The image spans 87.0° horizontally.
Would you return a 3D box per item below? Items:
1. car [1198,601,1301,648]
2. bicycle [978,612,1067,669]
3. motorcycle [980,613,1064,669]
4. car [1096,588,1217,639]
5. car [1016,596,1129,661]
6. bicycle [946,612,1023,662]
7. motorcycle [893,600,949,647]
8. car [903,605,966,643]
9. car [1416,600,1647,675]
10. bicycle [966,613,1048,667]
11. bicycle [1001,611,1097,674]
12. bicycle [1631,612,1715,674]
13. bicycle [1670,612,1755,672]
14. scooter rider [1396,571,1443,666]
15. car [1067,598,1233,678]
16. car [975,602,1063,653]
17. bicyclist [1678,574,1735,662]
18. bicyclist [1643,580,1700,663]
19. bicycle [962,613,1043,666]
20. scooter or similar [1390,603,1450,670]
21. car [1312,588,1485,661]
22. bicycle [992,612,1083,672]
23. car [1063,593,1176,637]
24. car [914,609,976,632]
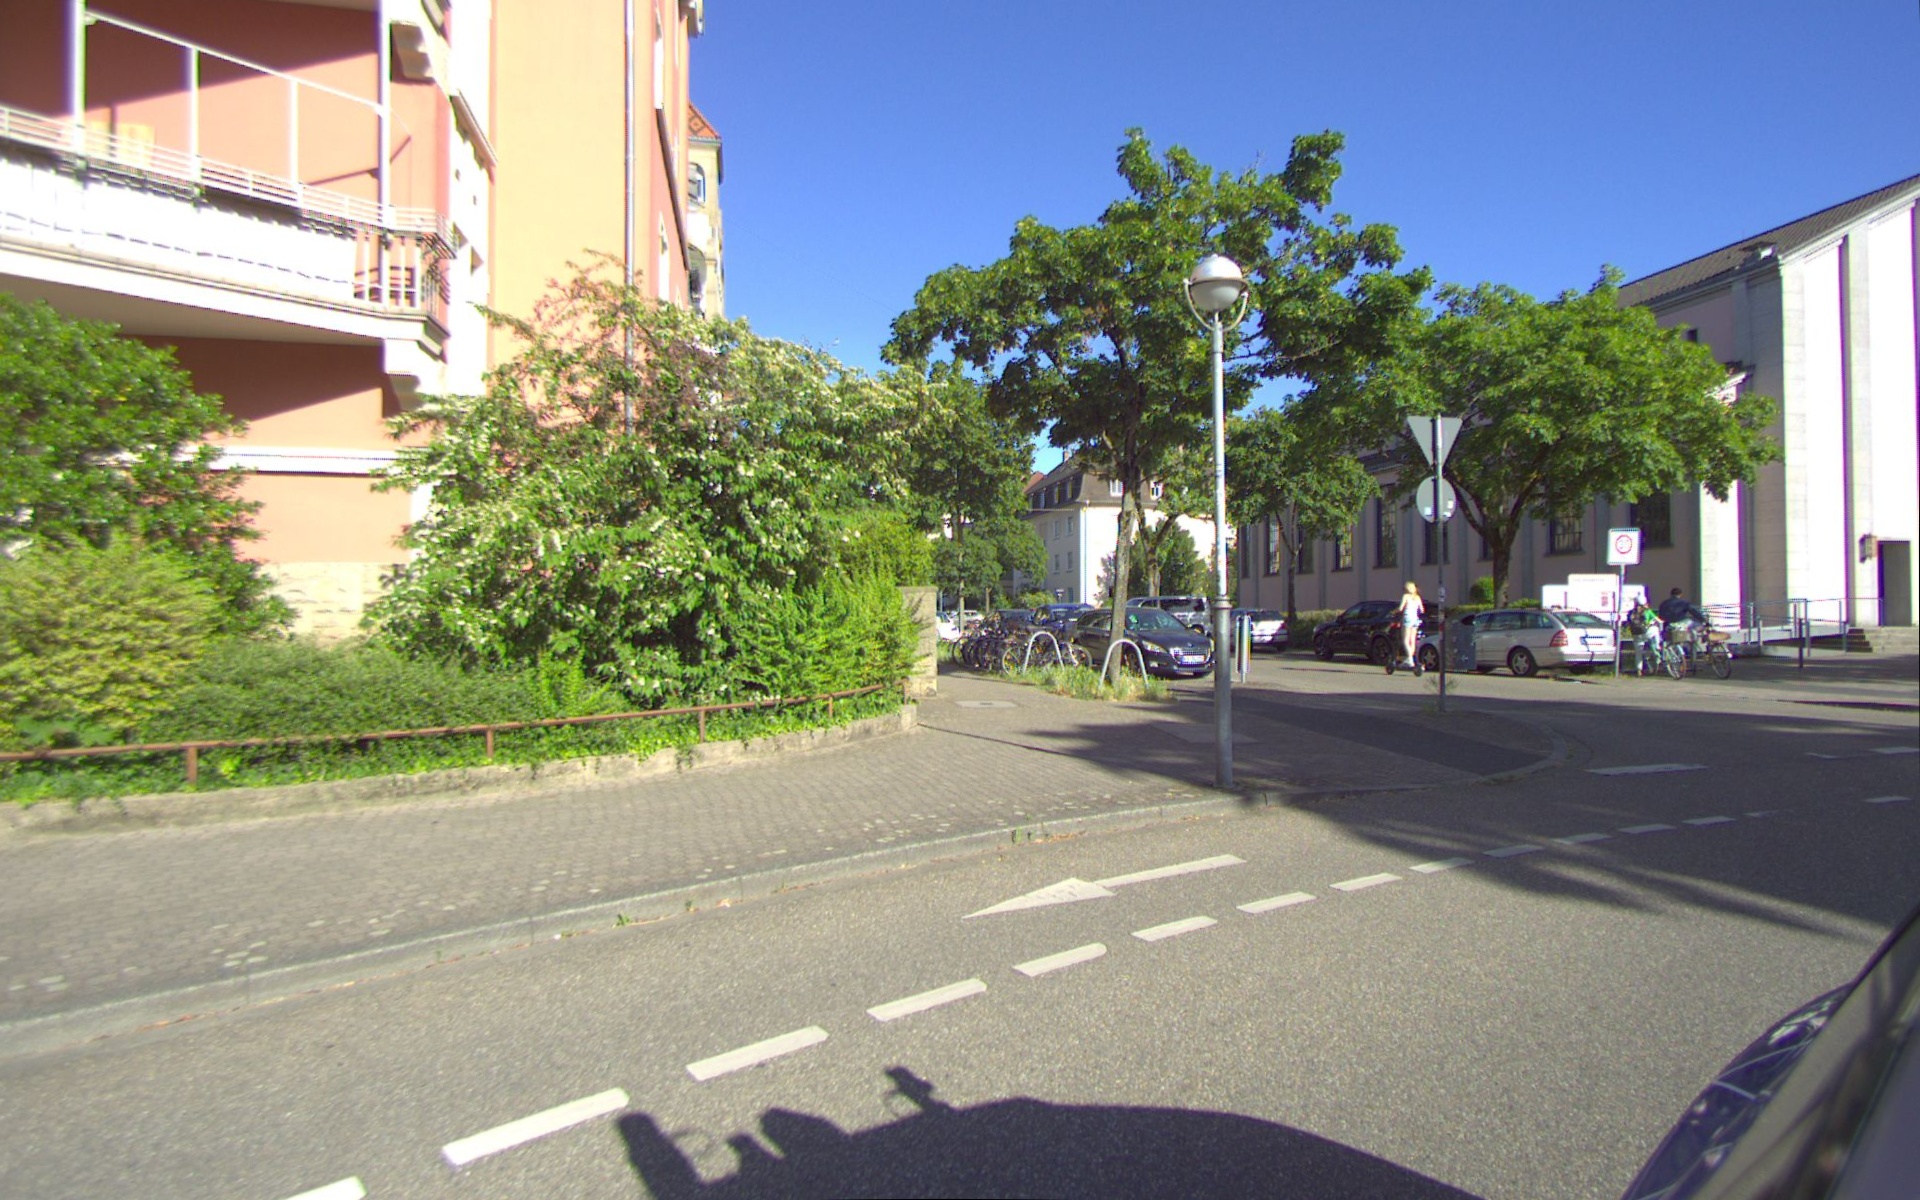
[{"bbox_3d":[9.855,0.823,34.809,1.773,1.493,4.344,1,-1,-8],"label":"car"},{"bbox_3d":[1.285,0.830,20.775,1.792,1.121,0.501,2,-1,-27],"label":"bicycle"},{"bbox_3d":[1.318,0.869,21.513,1.690,1.121,0.502,2,-1,-18],"label":"motorcycle"},{"bbox_3d":[8.259,0.570,42.593,4.679,2.027,1.813,1,-1,-15],"label":"car"},{"bbox_3d":[2.999,0.730,27.989,1.772,1.581,4.407,-2,0,-12],"label":"car"},{"bbox_3d":[0.569,0.861,23.528,1.690,1.121,0.517,2,-1,-14],"label":"bicycle"},{"bbox_3d":[-1.276,0.775,33.511,0.946,1.448,2.263,1,-1,23],"label":"motorcycle"},{"bbox_3d":[-1.117,0.953,41.729,1.772,1.414,4.407,-2,0,-12],"label":"car"},{"bbox_3d":[12.087,0.754,21.791,1.771,1.434,4.347,1,-1,-16],"label":"car"},{"bbox_3d":[1.017,0.874,21.982,1.690,1.121,0.502,2,-1,-18],"label":"bicycle"},{"bbox_3d":[1.671,0.799,19.058,1.691,1.129,0.547,2,-1,-11],"label":"bicycle"},{"bbox_3d":[13.950,0.819,19.866,0.586,1.122,1.858,-1,0,10],"label":"bicycle"},{"bbox_3d":[14.899,0.816,20.080,0.635,1.122,1.711,-1,0,11],"label":"bicycle"},{"bbox_3d":[9.196,0.363,20.248,0.613,1.855,0.632,0,-1,-5],"label":"scooter rider"},{"bbox_3d":[4.029,0.767,22.299,1.772,1.502,4.347,-2,0,-16],"label":"car"},{"bbox_3d":[1.870,0.849,33.423,1.772,1.469,4.407,-2,0,-12],"label":"car"},{"bbox_3d":[14.924,0.357,20.245,0.636,1.736,0.720,-1,-1,11],"label":"bicyclist"},{"bbox_3d":[13.939,0.415,19.853,0.586,1.601,0.802,-1,-1,10],"label":"bicyclist"},{"bbox_3d":[0.953,0.875,22.580,1.690,1.121,0.502,2,-1,-14],"label":"bicycle"},{"bbox_3d":[9.192,0.715,20.240,0.620,1.299,1.107,0,-1,-5],"label":"scooter or similar"},{"bbox_3d":[11.255,0.610,26.344,1.771,1.750,4.347,1,-1,-16],"label":"car"},{"bbox_3d":[1.524,0.824,19.967,1.691,1.129,0.547,2,-1,-11],"label":"bicycle"},{"bbox_3d":[7.205,0.682,45.809,4.679,1.865,1.813,1,-1,-12],"label":"car"},{"bbox_3d":[-1.195,1.635,81.327,4.679,1.767,1.813,1,-1,-15],"label":"car"}]
